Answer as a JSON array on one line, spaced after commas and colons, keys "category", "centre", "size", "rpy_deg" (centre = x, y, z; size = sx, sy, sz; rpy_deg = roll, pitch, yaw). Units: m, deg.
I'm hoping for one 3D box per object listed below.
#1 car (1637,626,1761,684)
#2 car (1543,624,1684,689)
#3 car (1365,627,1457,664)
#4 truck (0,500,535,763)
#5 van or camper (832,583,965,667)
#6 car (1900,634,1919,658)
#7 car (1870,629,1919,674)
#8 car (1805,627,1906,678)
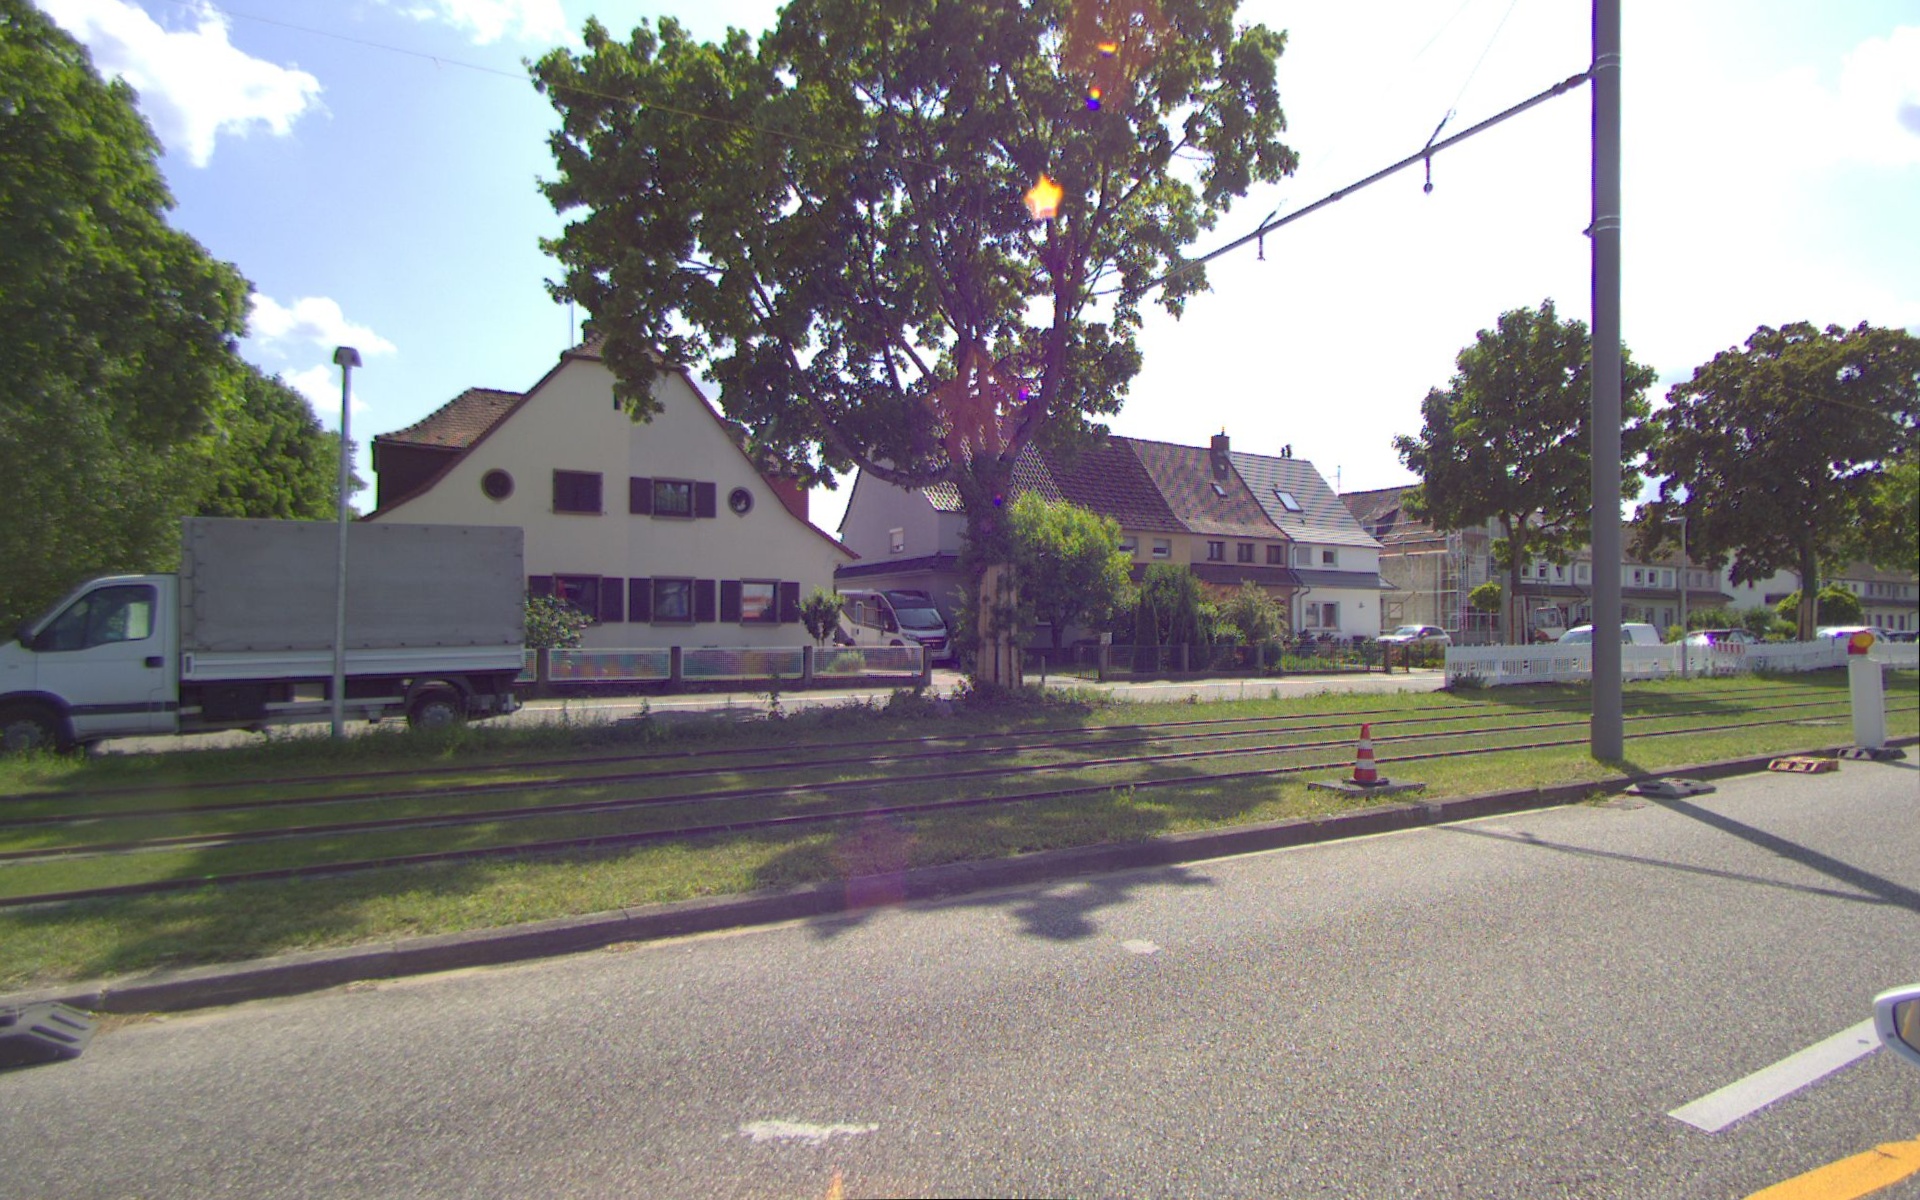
[{"category": "car", "centre": [24.292, 1.763, 33.006], "size": [4.177, 1.797, 1.768], "rpy_deg": [1, -2, -30]}, {"category": "car", "centre": [19.568, 1.643, 30.036], "size": [4.312, 1.845, 1.768], "rpy_deg": [1, -2, -30]}, {"category": "car", "centre": [19.992, 1.989, 44.499], "size": [3.952, 1.539, 1.768], "rpy_deg": [1, -2, -30]}, {"category": "truck", "centre": [-8.833, 0.401, 12.975], "size": [5.906, 2.817, 2.255], "rpy_deg": [1, -2, -31]}, {"category": "van or camper", "centre": [-2.373, 0.936, 36.656], "size": [2.269, 2.801, 6.051], "rpy_deg": [1, -2, -32]}, {"category": "car", "centre": [70.034, 3.305, 72.749], "size": [4.079, 1.745, 1.768], "rpy_deg": [1, -2, -30]}, {"category": "car", "centre": [40.648, 2.164, 42.700], "size": [4.079, 1.829, 1.768], "rpy_deg": [1, -2, -30]}, {"category": "car", "centre": [35.364, 2.030, 39.643], "size": [4.079, 1.892, 1.768], "rpy_deg": [1, -2, -30]}]
